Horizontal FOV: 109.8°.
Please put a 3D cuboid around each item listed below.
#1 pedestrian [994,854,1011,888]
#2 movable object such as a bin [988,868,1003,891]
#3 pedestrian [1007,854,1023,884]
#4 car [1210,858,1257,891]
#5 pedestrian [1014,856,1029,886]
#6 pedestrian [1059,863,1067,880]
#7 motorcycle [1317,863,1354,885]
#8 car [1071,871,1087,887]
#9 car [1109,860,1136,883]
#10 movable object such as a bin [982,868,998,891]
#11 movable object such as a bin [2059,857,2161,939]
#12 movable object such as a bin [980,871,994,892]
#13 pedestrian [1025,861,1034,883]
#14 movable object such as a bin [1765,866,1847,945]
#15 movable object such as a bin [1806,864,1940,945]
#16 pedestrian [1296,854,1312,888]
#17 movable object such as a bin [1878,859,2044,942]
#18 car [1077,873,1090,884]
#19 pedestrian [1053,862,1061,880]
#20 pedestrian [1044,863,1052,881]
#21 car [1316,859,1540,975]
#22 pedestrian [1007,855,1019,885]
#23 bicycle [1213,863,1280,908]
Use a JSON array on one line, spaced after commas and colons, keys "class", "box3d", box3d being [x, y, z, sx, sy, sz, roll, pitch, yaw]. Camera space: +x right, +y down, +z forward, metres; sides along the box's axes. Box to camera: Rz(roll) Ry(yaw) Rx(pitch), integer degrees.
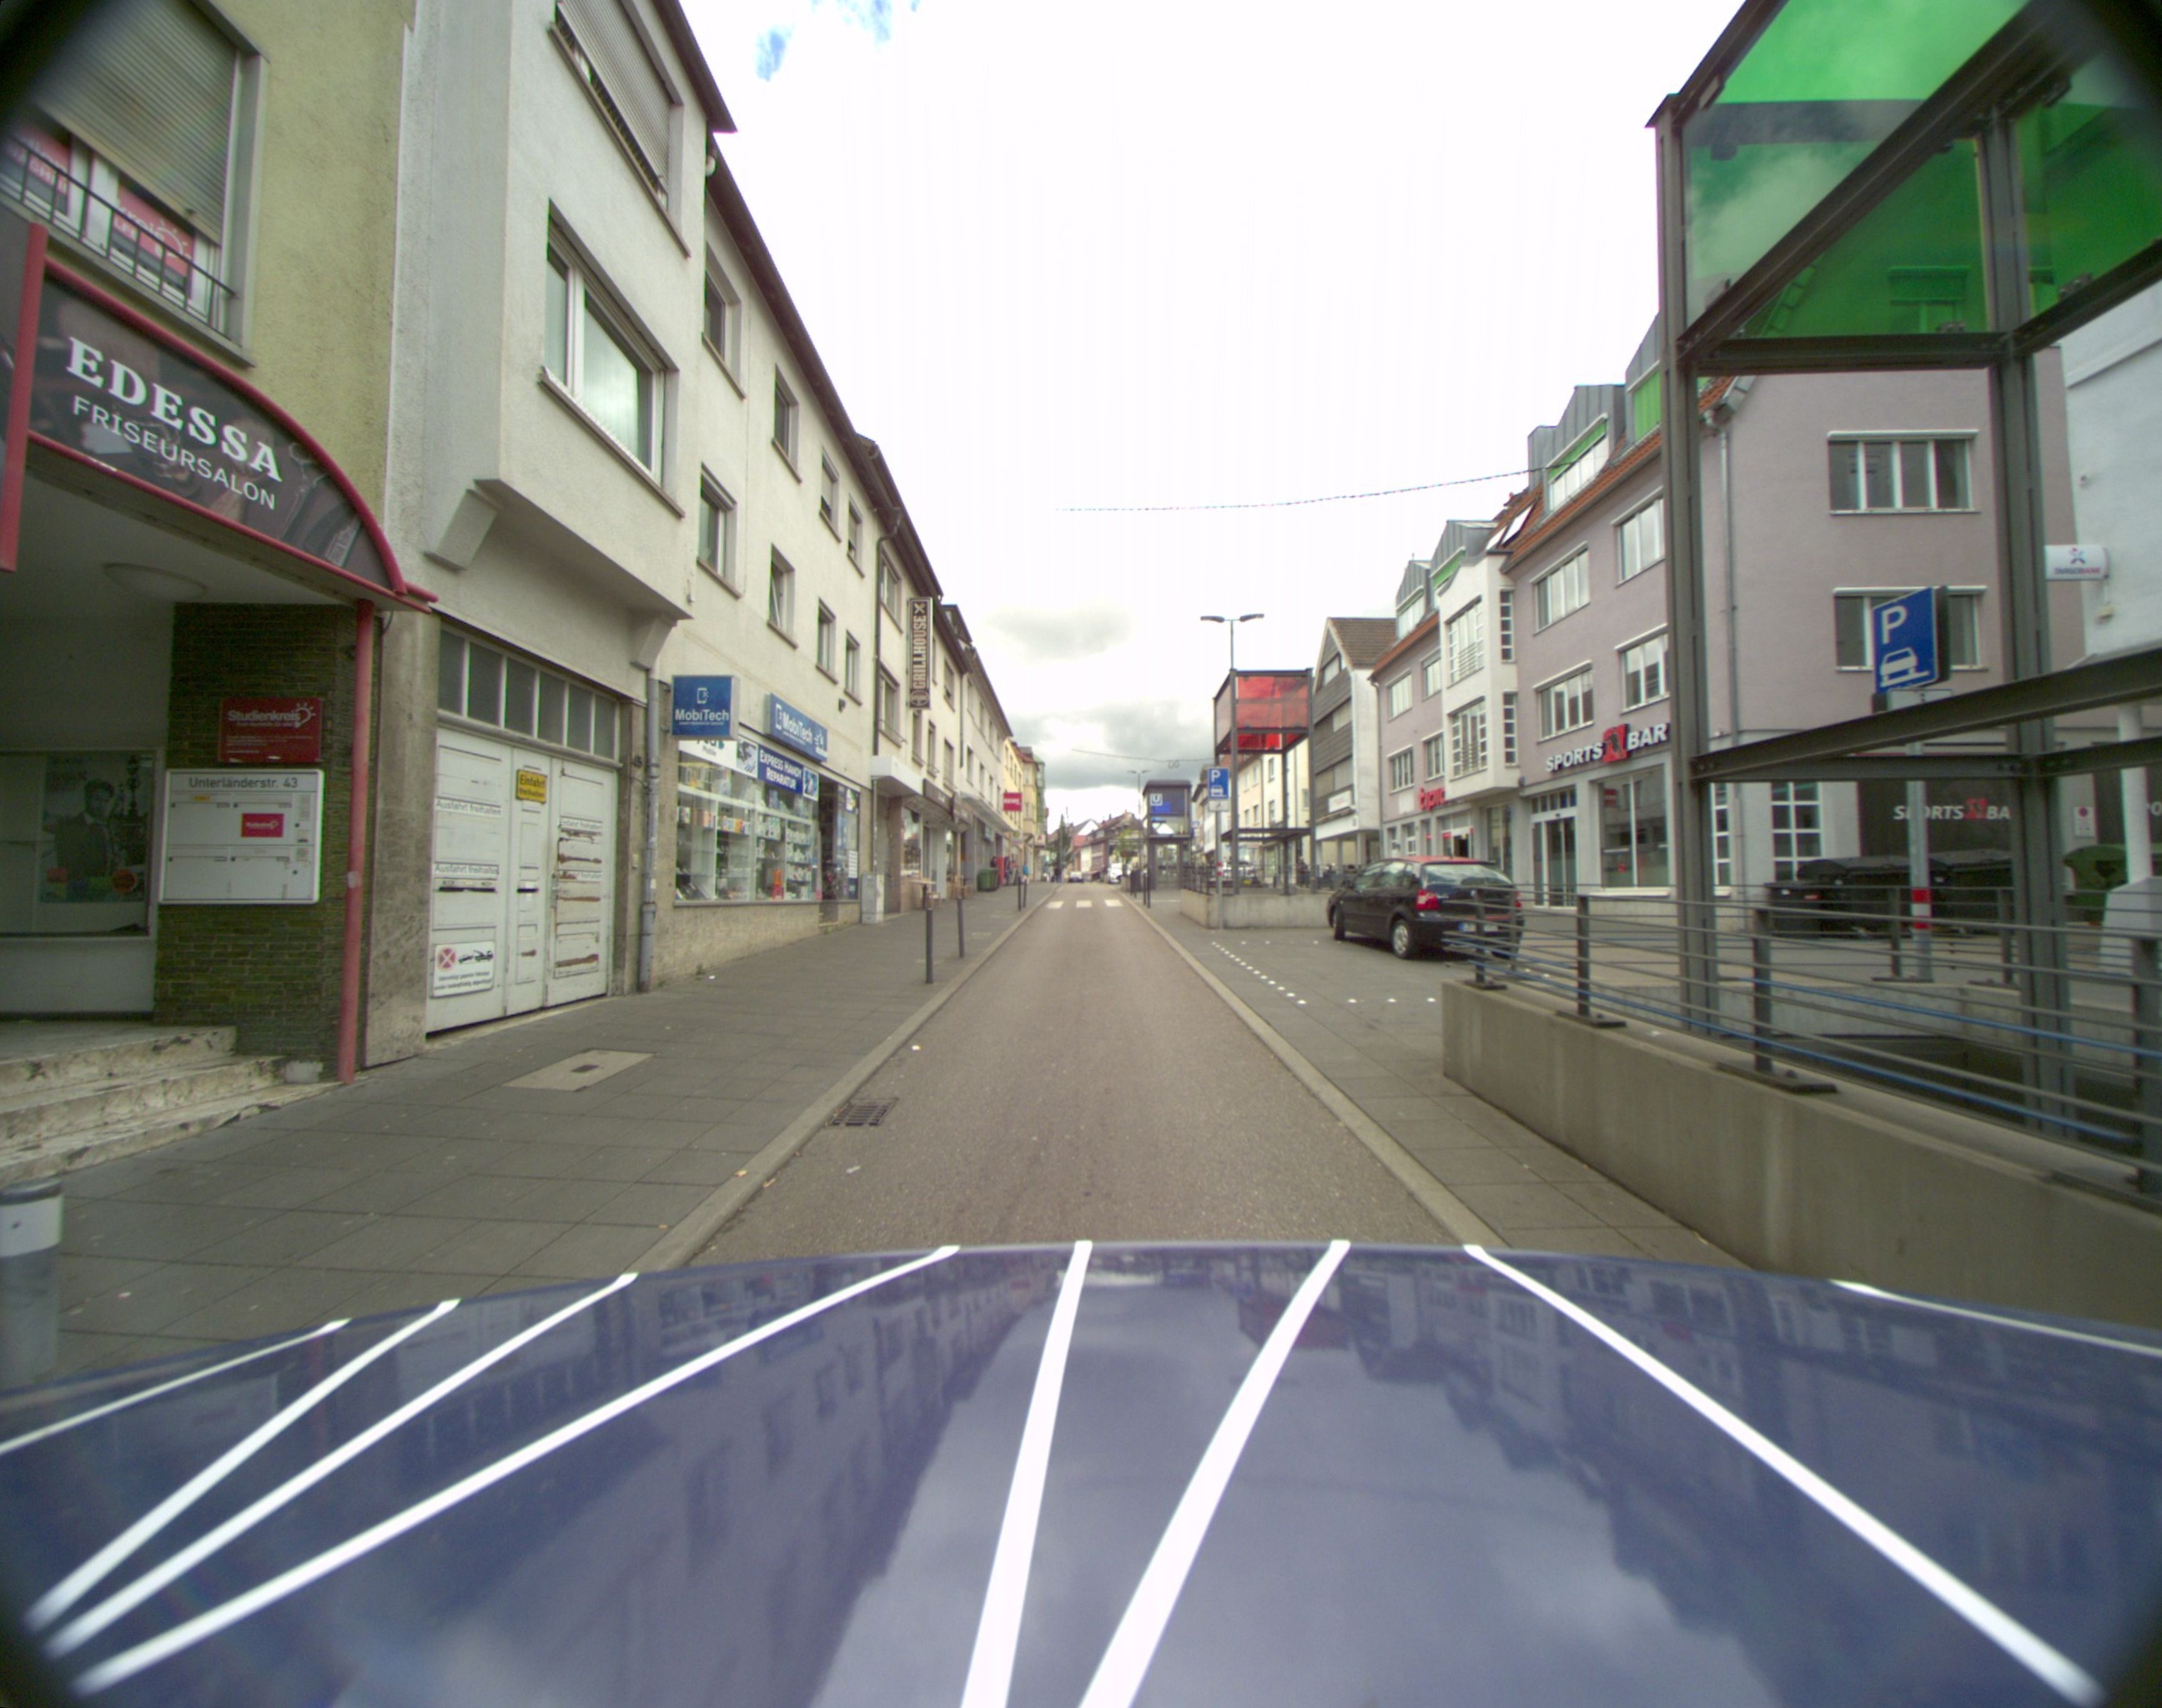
[{"class": "pedestrian", "box3d": [-4.026, 0.853, 38.850, 0.628, 1.716, 0.606, -3, 1, -23]}, {"class": "movable object such as a bin", "box3d": [-4.013, 1.203, 35.707, 0.652, 1.074, 0.673, 0, 0, 0]}, {"class": "pedestrian", "box3d": [-3.702, 0.839, 42.568, 0.741, 1.660, 0.785, 1, 0, -15]}, {"class": "car", "box3d": [8.174, 1.075, 41.103, 1.684, 1.562, 4.122, -2, 0, 0]}, {"class": "pedestrian", "box3d": [-3.699, 1.058, 47.079, 0.629, 1.811, 0.605, -3, 1, -34]}, {"class": "pedestrian", "box3d": [-1.698, 1.655, 71.476, 0.657, 1.620, 0.743, -2, 1, -2]}, {"class": "motorcycle", "box3d": [14.588, 1.144, 43.524, 1.854, 1.134, 0.634, -2, 1, 0]}, {"class": "car", "box3d": [-0.269, 2.882, 87.455, 1.741, 1.608, 3.843, -2, 0, 0]}, {"class": "car", "box3d": [2.956, 1.232, 54.290, 1.754, 1.452, 3.601, -2, 0, 1]}, {"class": "movable object such as a bin", "box3d": [-4.204, 1.159, 34.984, 0.670, 1.024, 0.560, 0, 0, 0]}, {"class": "movable object such as a bin", "box3d": [18.414, 0.745, 13.290, 1.286, 1.368, 1.044, -1, 0, 0]}, {"class": "movable object such as a bin", "box3d": [-4.259, 1.230, 34.372, 0.568, 0.951, 0.498, 0, 0, 0]}, {"class": "pedestrian", "box3d": [-3.849, 1.355, 57.049, 0.627, 1.620, 0.607, -2, 1, -5]}, {"class": "movable object such as a bin", "box3d": [13.020, 0.906, 13.666, 0.691, 1.368, 0.808, -1, 0, 0]}, {"class": "movable object such as a bin", "box3d": [14.119, 0.878, 13.590, 1.286, 1.368, 1.067, -1, 0, 0]}, {"class": "pedestrian", "box3d": [11.487, 0.876, 39.148, 0.592, 1.706, 0.513, -2, 1, 0]}, {"class": "movable object such as a bin", "box3d": [15.406, 0.781, 13.368, 1.286, 1.368, 1.407, -1, 0, 0]}, {"class": "car", "box3d": [0.388, 3.965, 121.980, 1.741, 1.608, 3.999, -2, 0, -2]}, {"class": "pedestrian", "box3d": [-2.253, 1.561, 70.653, 0.657, 1.620, 0.743, -2, 1, -6]}, {"class": "pedestrian", "box3d": [-3.055, 1.650, 70.678, 0.657, 1.620, 0.743, -2, 1, -6]}, {"class": "car", "box3d": [5.133, 0.837, 11.854, 1.573, 1.466, 3.854, 0, 0, -3]}, {"class": "pedestrian", "box3d": [-3.881, 0.900, 43.491, 0.627, 1.716, 0.607, 2, 0, -5]}, {"class": "bicycle", "box3d": [4.595, 0.876, 21.173, 1.782, 1.216, 0.459, 0, 1, 0]}]
